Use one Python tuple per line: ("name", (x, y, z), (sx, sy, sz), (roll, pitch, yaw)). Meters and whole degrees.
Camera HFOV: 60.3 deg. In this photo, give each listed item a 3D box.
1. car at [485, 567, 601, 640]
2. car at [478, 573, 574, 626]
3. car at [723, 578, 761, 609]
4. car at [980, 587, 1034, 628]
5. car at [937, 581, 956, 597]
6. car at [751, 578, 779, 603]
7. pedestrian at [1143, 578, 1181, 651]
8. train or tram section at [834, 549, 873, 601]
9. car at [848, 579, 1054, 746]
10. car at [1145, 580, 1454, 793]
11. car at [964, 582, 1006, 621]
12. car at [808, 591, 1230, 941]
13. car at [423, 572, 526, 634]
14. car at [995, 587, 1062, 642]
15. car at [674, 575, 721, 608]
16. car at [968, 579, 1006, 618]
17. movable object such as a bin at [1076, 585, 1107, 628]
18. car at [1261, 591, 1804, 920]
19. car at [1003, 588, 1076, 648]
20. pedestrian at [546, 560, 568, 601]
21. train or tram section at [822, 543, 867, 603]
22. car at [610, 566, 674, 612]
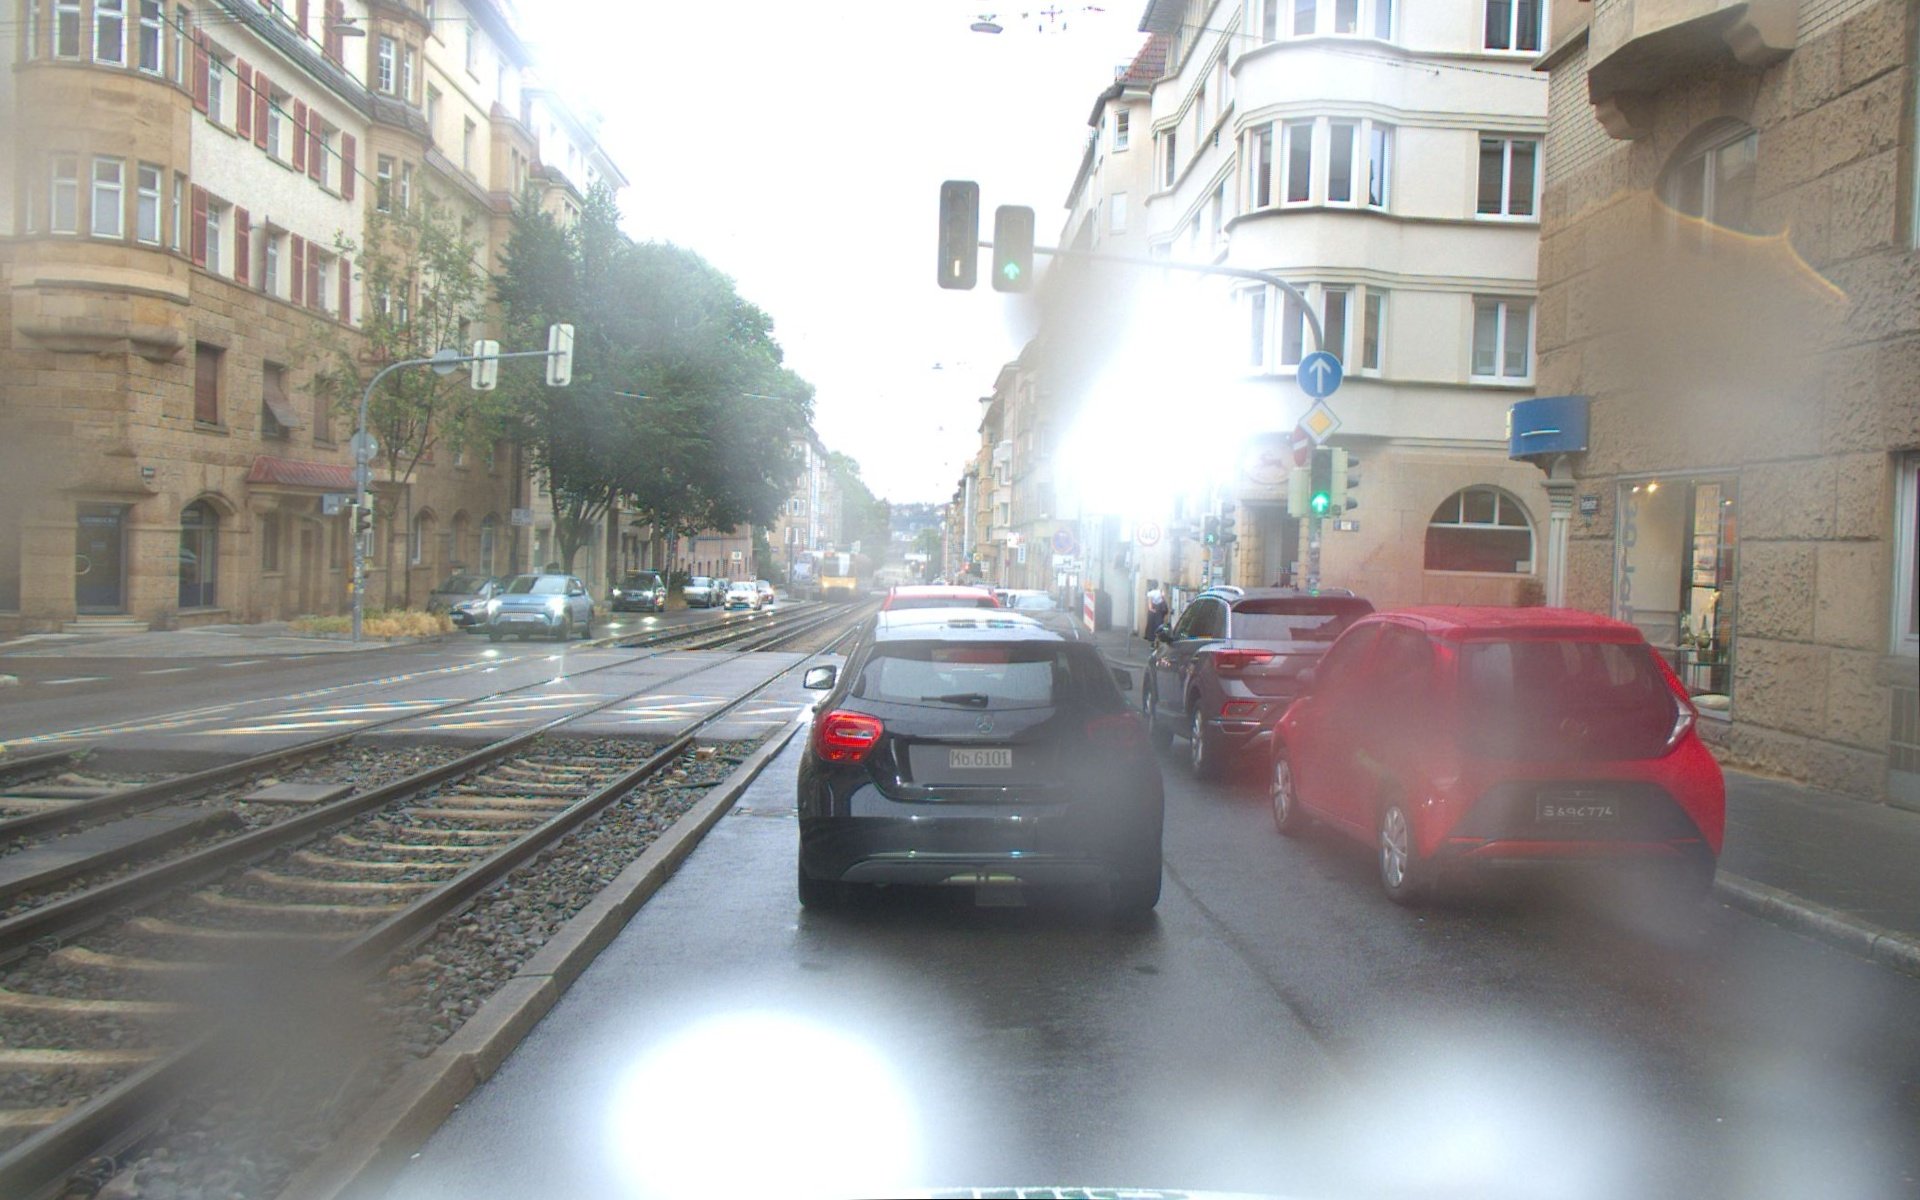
("car", (-9.943, 0.084, 39.707), (1.883, 1.646, 4.126), (1, 0, -3))
("car", (-13.024, -0.012, 49.919), (1.745, 1.485, 4.976), (1, 0, -3))
("car", (-11.060, -0.309, 84.244), (1.746, 1.529, 4.058), (1, 0, -5))
("car", (1.700, 0.272, 60.839), (1.753, 1.410, 4.394), (1, 0, -1))
("car", (-1.387, -1.114, 172.319), (1.848, 1.552, 4.246), (2, 0, 1))
("car", (-12.157, -0.598, 103.014), (1.621, 1.488, 3.730), (0, 1, -5))
("pedestrian", (4.830, 0.343, 39.628), (0.788, 1.717, 0.754), (1, 0, -2))
("train or tram section", (-8.990, -2.098, 141.033), (2.690, 4.132, 15.656), (1, 1, -2))
("car", (-0.115, 0.601, 18.151), (1.953, 1.552, 4.245), (2, 0, -1))
("car", (2.830, 0.654, 14.695), (1.830, 1.576, 3.990), (2, 0, -1))
("car", (1.132, 0.069, 73.526), (1.803, 1.636, 4.761), (1, 0, 1))
("car", (0.229, 0.711, 9.095), (1.797, 1.478, 3.901), (1, 0, -1))
("car", (-12.959, 0.089, 44.364), (1.656, 1.556, 4.173), (1, 0, -3))
("car", (1.938, 0.416, 47.888), (1.677, 1.493, 4.773), (1, 0, -1))
("car", (-13.946, -0.484, 87.982), (1.922, 1.633, 4.327), (2, 1, -2))
("car", (1.278, -0.069, 79.589), (1.742, 1.780, 4.548), (1, 0, 0))
("movable object such as a bin", (4.676, 0.237, 58.752), (0.960, 1.494, 1.272), (1, 0, -2))
("car", (2.981, 0.716, 9.425), (1.672, 1.478, 3.530), (2, 0, -3))
("car", (1.992, 0.441, 42.522), (1.675, 1.435, 4.817), (1, 0, 1))
("pedestrian", (-16.814, -0.812, 69.042), (0.713, 1.692, 0.770), (2, 0, -2))
("train or tram section", (-8.598, -1.998, 124.760), (2.690, 4.132, 17.208), (1, 1, -2))
("car", (-13.549, -0.485, 70.681), (1.914, 1.772, 4.777), (4, 1, -3))
